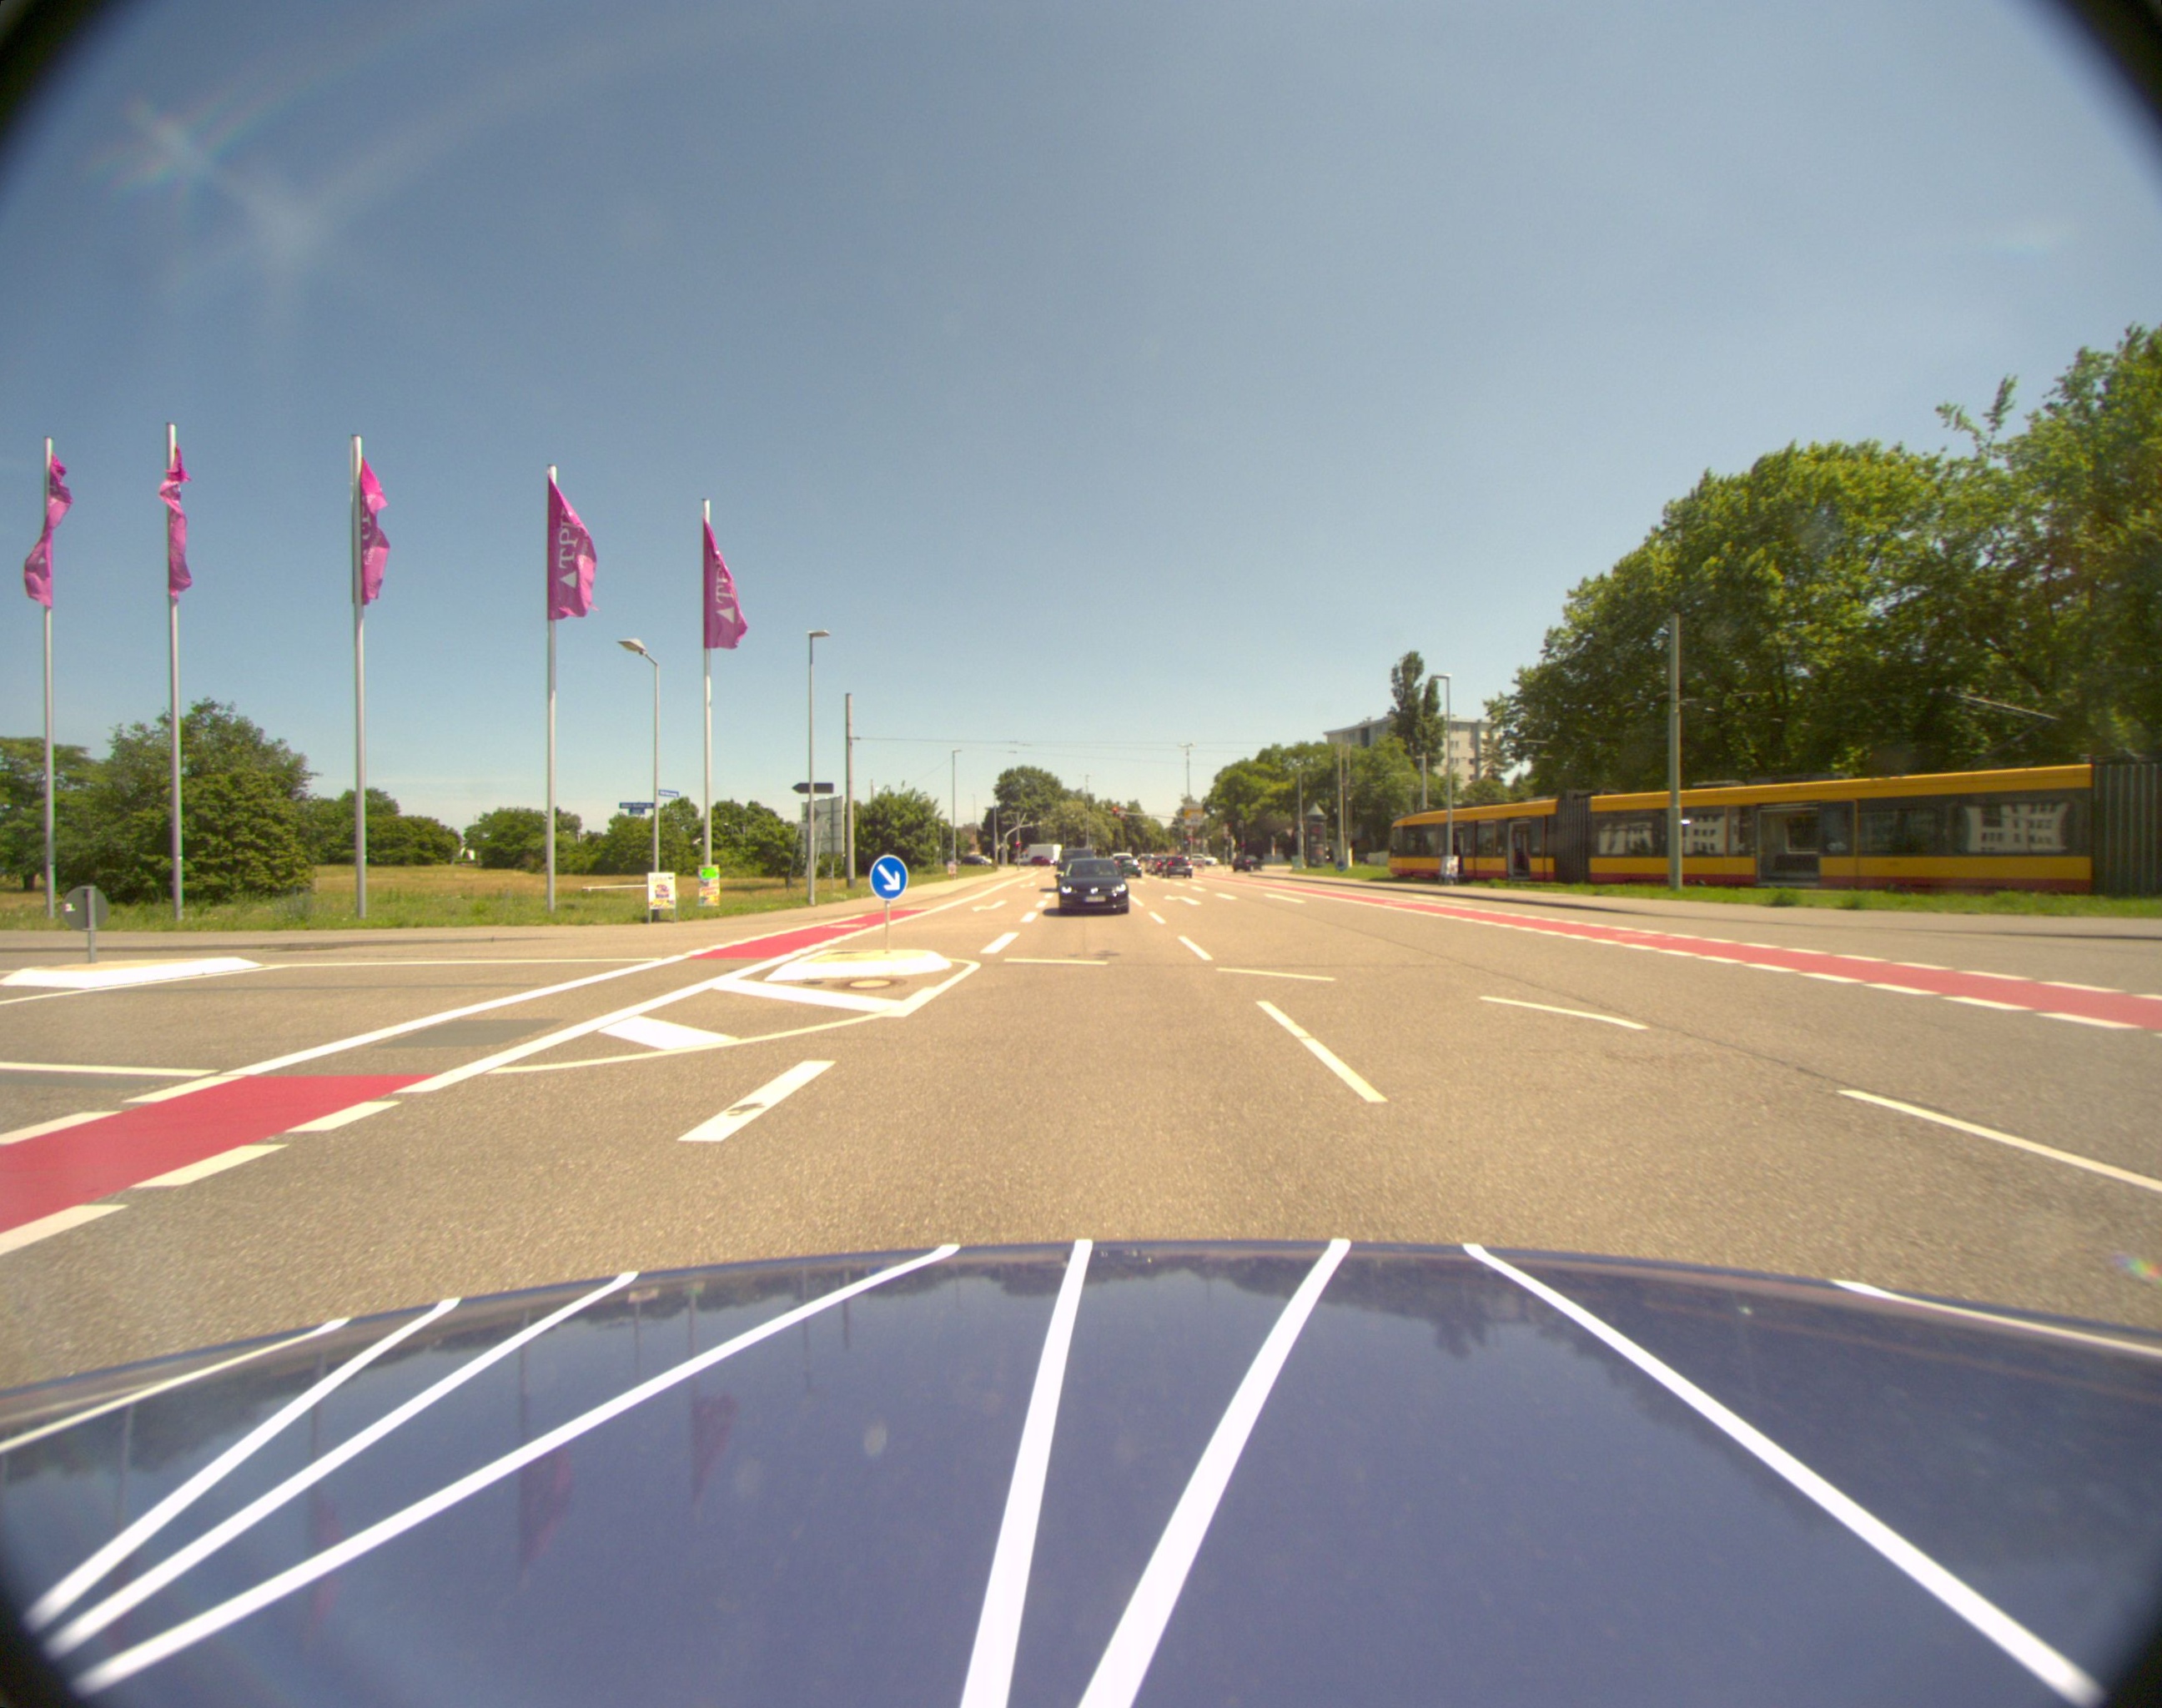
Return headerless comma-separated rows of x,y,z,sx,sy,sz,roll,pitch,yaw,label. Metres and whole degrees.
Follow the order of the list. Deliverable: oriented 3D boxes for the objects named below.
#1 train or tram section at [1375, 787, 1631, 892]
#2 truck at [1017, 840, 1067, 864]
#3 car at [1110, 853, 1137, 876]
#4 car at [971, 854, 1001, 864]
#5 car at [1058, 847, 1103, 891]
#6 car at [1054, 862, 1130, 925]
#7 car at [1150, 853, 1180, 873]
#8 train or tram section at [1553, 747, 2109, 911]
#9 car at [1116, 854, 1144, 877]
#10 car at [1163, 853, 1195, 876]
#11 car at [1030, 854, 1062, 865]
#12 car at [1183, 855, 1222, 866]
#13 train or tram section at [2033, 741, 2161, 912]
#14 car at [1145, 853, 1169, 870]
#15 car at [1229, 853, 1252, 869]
17.730,-0.470,33.816,3.025,3.737,12.987,1,0,-6,train or tram section
-6.113,-0.220,119.235,7.691,3.511,2.594,-1,-2,31,truck
3.280,0.821,59.627,1.816,1.713,4.831,-1,0,0,car
-15.088,0.819,120.477,4.400,1.566,1.879,-1,-1,31,car
-0.069,0.675,35.780,1.941,1.919,4.846,-1,0,-1,car
0.281,0.919,19.388,1.708,1.396,4.054,-2,0,1,car
6.364,0.675,58.057,1.764,1.448,4.285,-1,0,-1,car
21.199,-0.534,23.012,3.031,3.737,11.588,1,0,-32,train or tram section
3.291,0.742,51.946,1.727,1.454,3.990,-1,0,1,car
6.351,0.666,49.602,1.626,1.447,3.501,0,0,0,car
-5.024,0.860,109.181,4.400,1.566,1.879,-1,-1,31,car
15.006,0.813,93.657,4.400,1.380,1.879,-1,-1,31,car
29.647,-0.566,14.536,14.008,3.737,3.032,0,0,32,train or tram section
6.687,0.610,67.310,1.795,1.447,4.413,0,0,1,car
14.513,0.633,68.952,1.746,1.397,4.446,0,-1,15,car
